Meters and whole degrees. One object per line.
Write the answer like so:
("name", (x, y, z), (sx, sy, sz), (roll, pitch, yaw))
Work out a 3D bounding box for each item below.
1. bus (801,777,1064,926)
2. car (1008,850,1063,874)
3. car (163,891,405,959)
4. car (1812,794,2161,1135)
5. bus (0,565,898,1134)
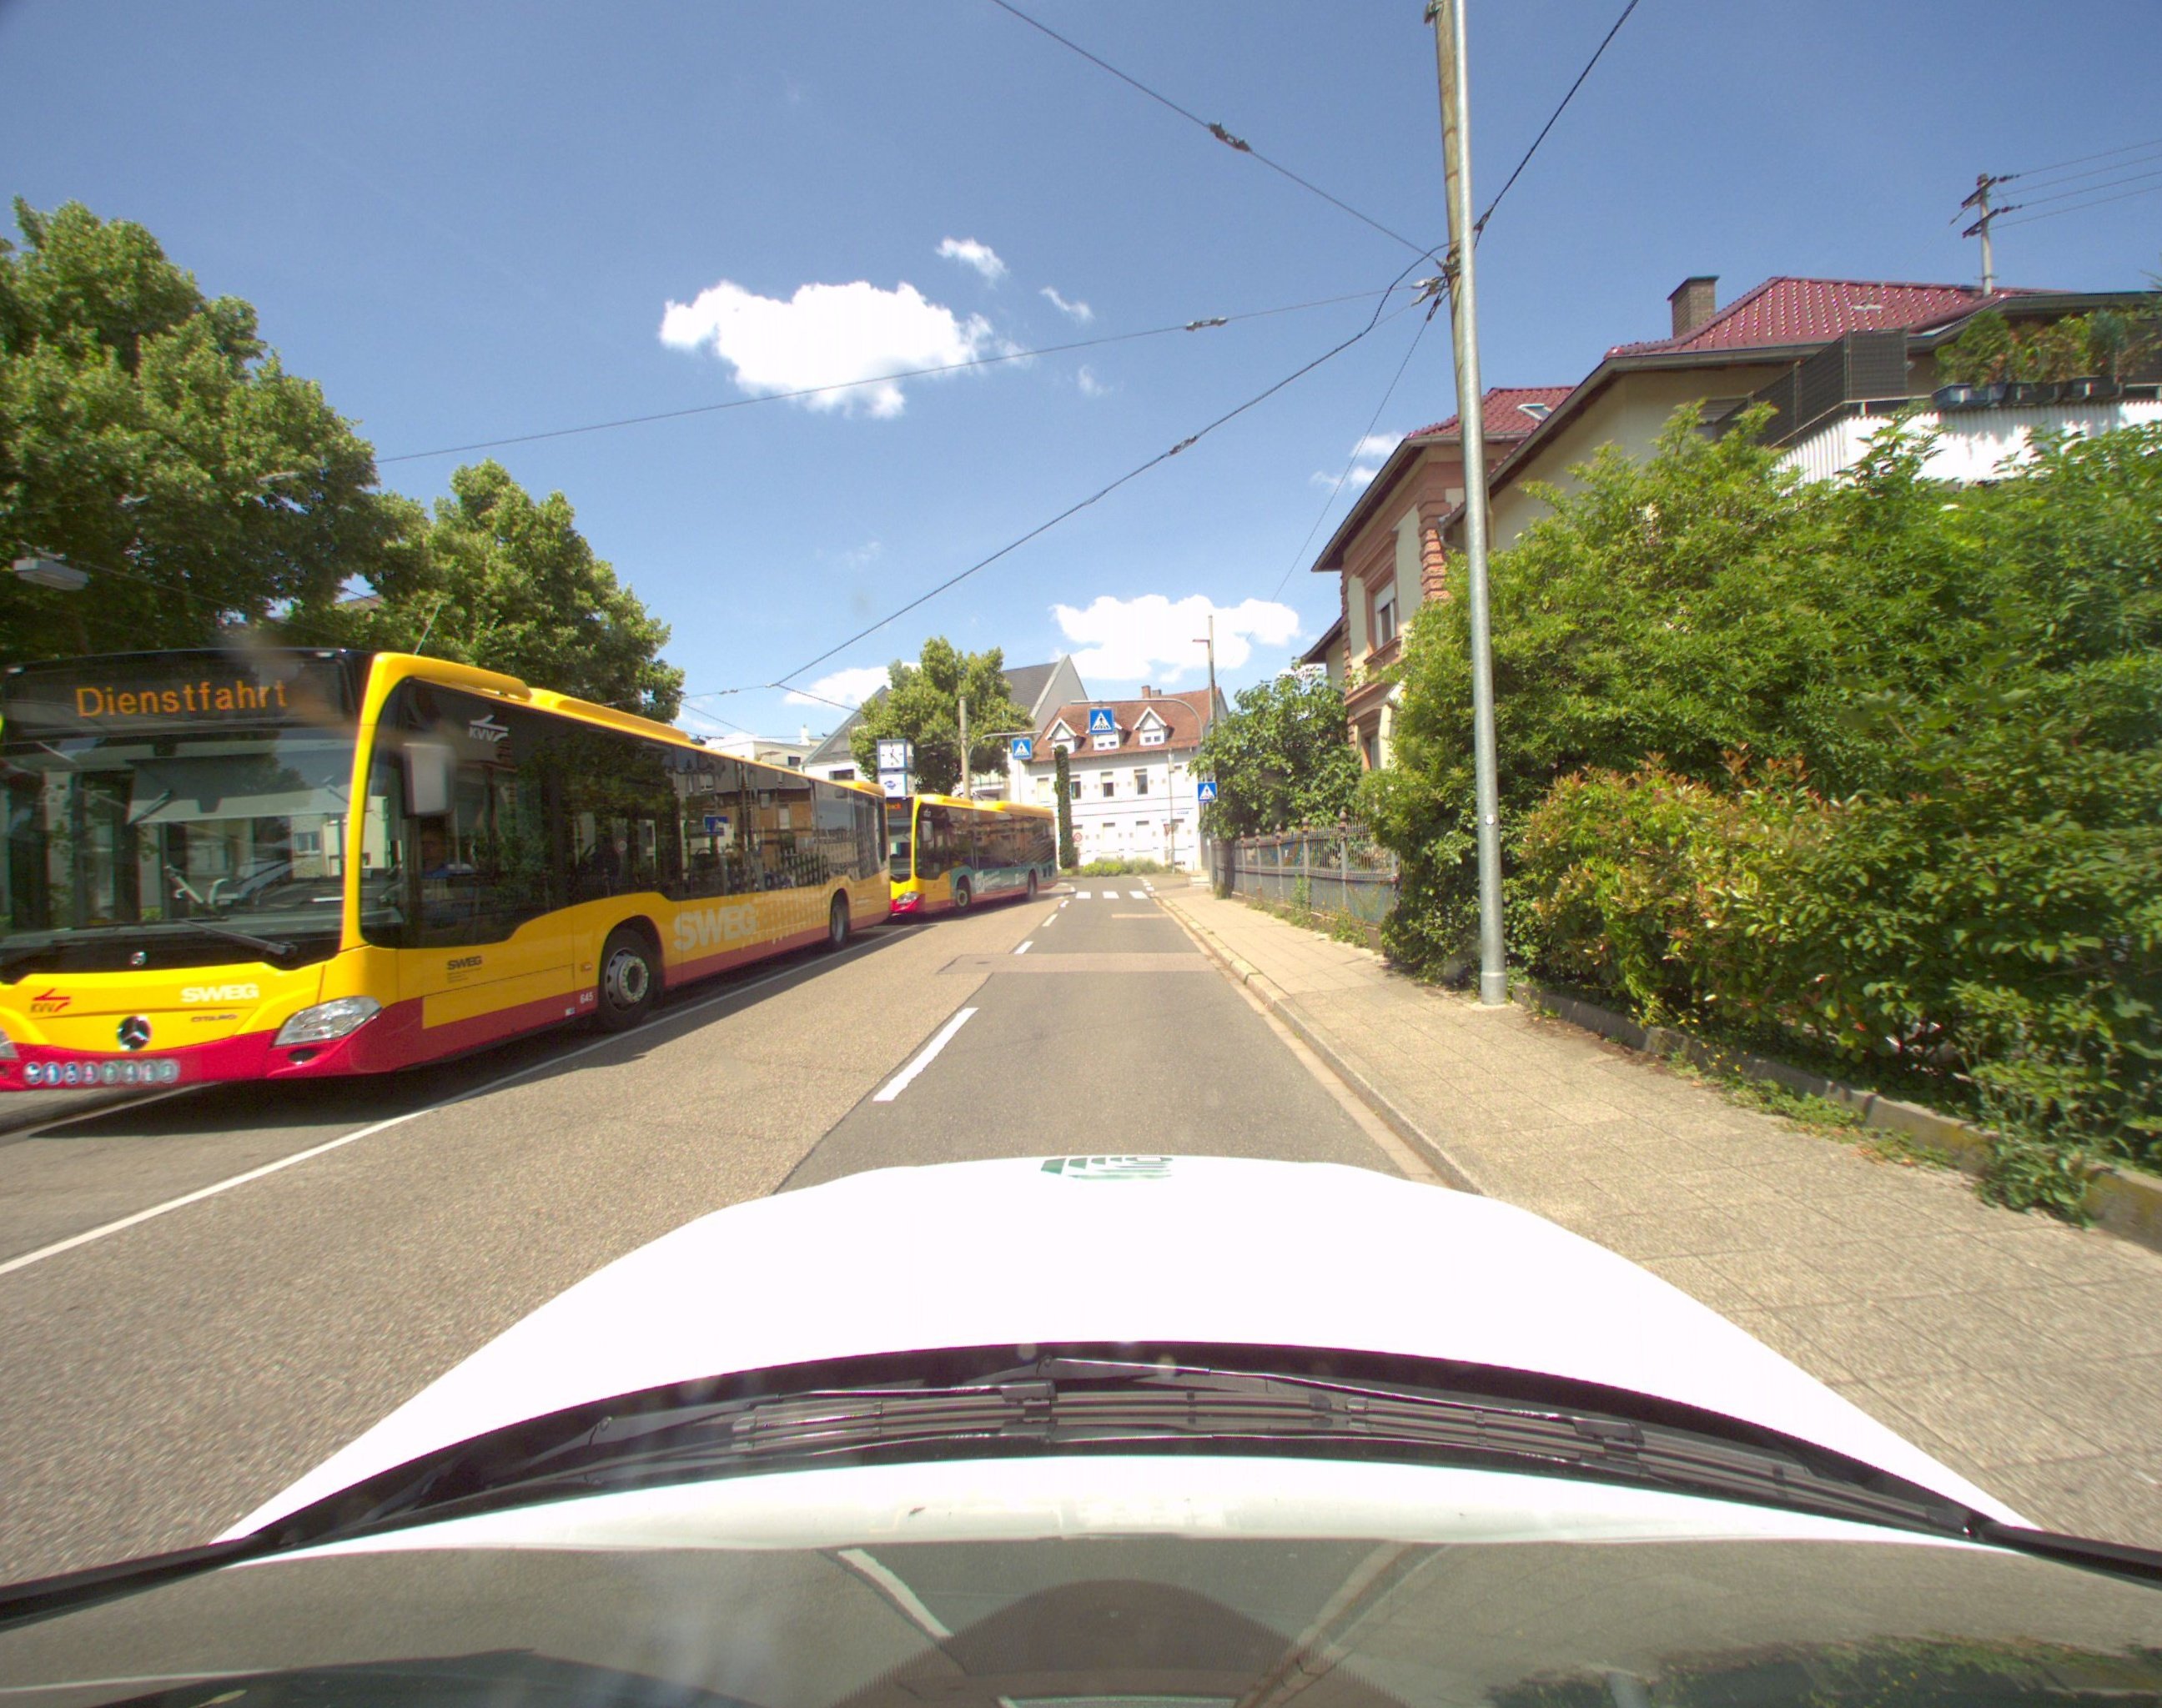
("bus", (-3.420, -0.091, 23.821), (2.760, 3.208, 12.352), (-1, 0, 14))
("car", (-3.193, 0.569, 57.221), (3.571, 1.587, 1.594), (-2, -2, 33))
("car", (-18.286, 1.571, 18.995), (1.709, 1.319, 3.997), (0, -2, -1))
("car", (6.053, 0.572, 3.801), (1.754, 1.628, 4.001), (3, -2, 2))
("bus", (-5.410, 0.050, 10.735), (2.896, 3.248, 12.122), (0, -1, 2))
